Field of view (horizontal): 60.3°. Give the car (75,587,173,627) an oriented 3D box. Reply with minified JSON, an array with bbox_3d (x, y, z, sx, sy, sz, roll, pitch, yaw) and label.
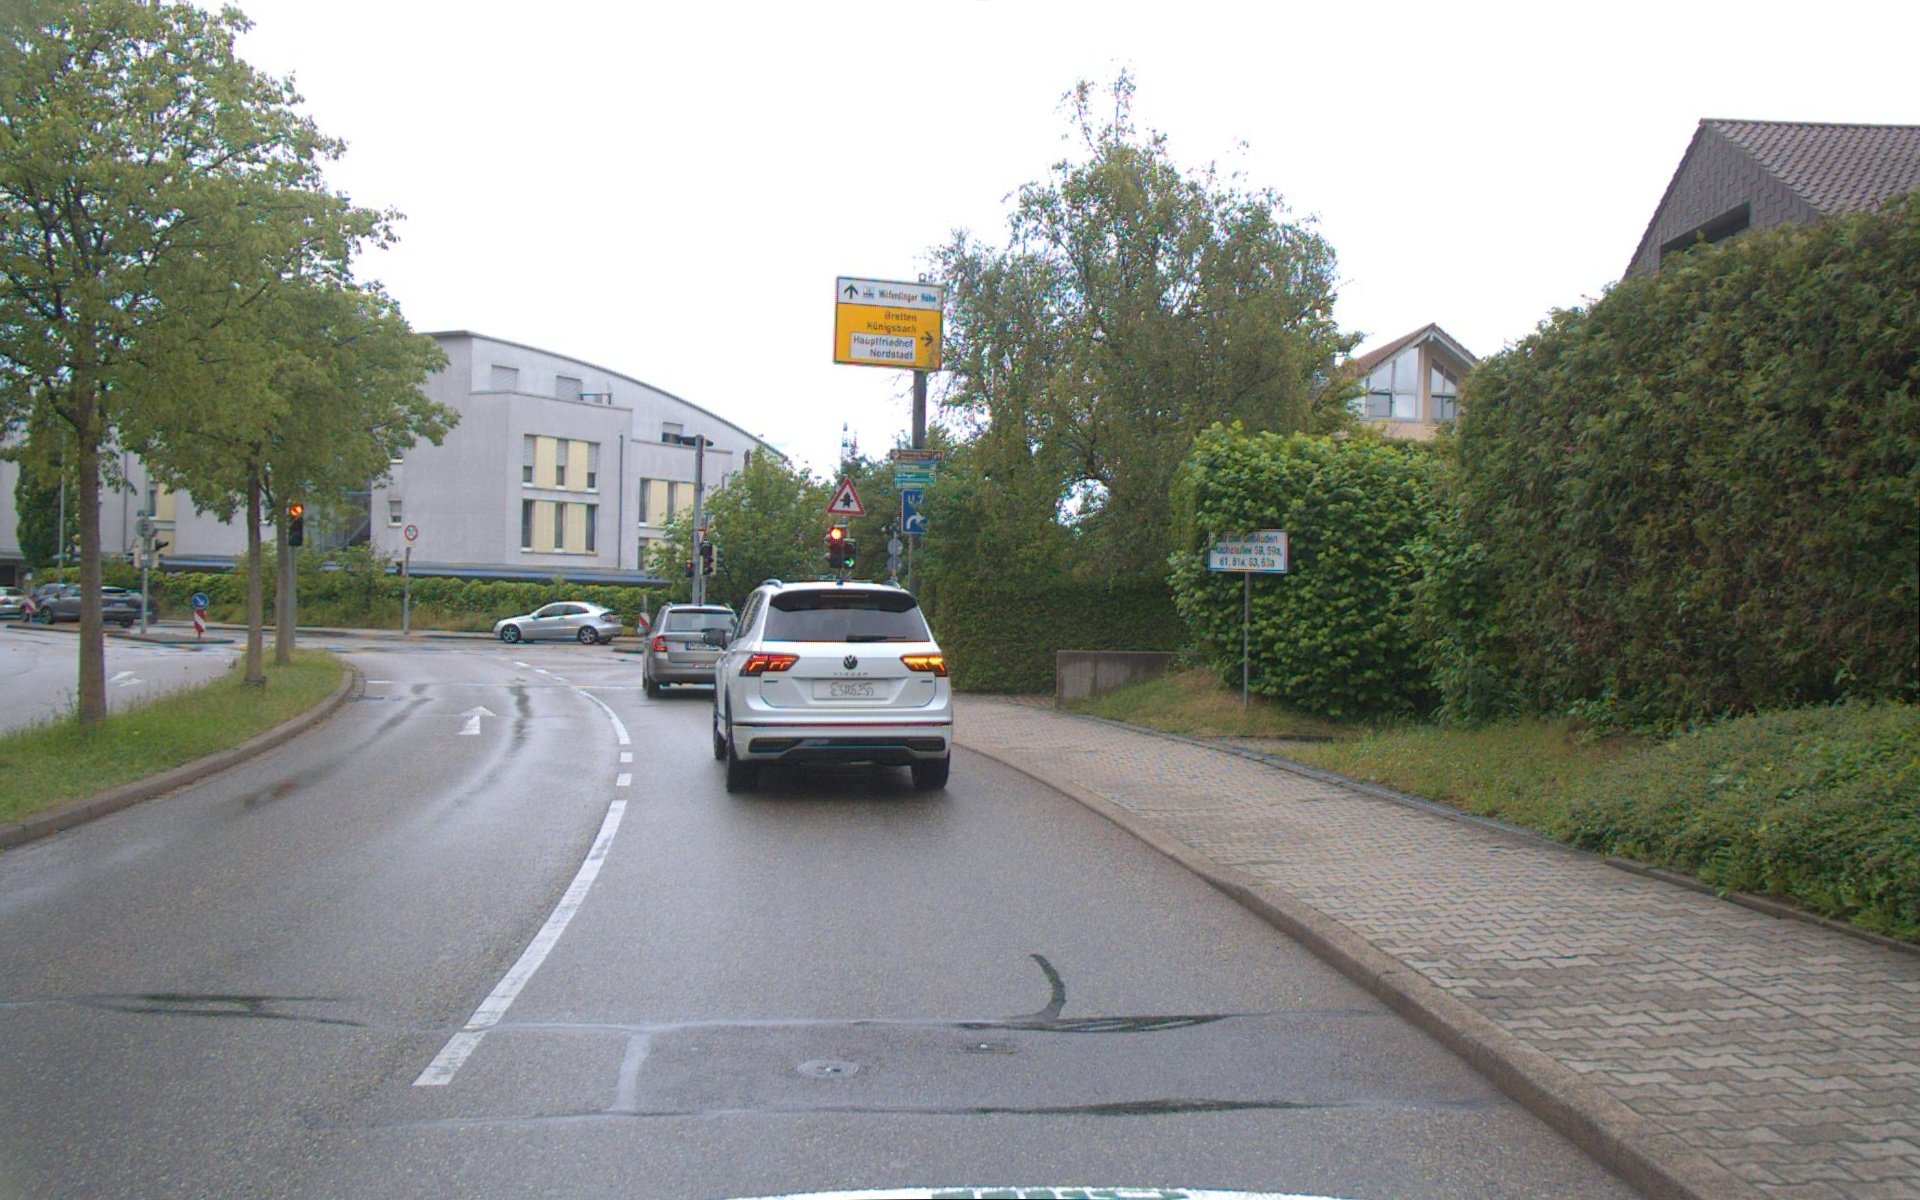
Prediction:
[{"bbox_3d":[-35.723,0.264,70.682,3.914,1.582,1.996,1,1,31],"label":"car"}]

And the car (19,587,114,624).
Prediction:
[{"bbox_3d":[-39.588,0.251,73.252,3.914,1.583,1.995,1,0,31],"label":"car"}]

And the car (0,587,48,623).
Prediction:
[{"bbox_3d":[-43.812,0.218,75.620,3.914,1.583,1.995,1,0,31],"label":"car"}]

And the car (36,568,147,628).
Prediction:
[{"bbox_3d":[-34.333,-0.094,65.389,3.913,2.048,1.978,5,2,28],"label":"car"}]

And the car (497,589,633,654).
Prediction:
[{"bbox_3d":[-13.246,0.706,55.618,3.903,1.788,2.002,4,2,5],"label":"car"}]

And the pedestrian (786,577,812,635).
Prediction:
[{"bbox_3d":[-5.789,0.200,59.529,0.786,2.048,0.847,0,3,-15],"label":"pedestrian"}]

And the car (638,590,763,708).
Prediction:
[{"bbox_3d":[-4.330,0.740,27.197,1.734,1.535,3.989,3,2,-12],"label":"car"}]

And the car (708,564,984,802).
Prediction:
[{"bbox_3d":[-1.158,0.625,14.462,1.886,1.752,4.253,1,0,-11],"label":"car"}]
